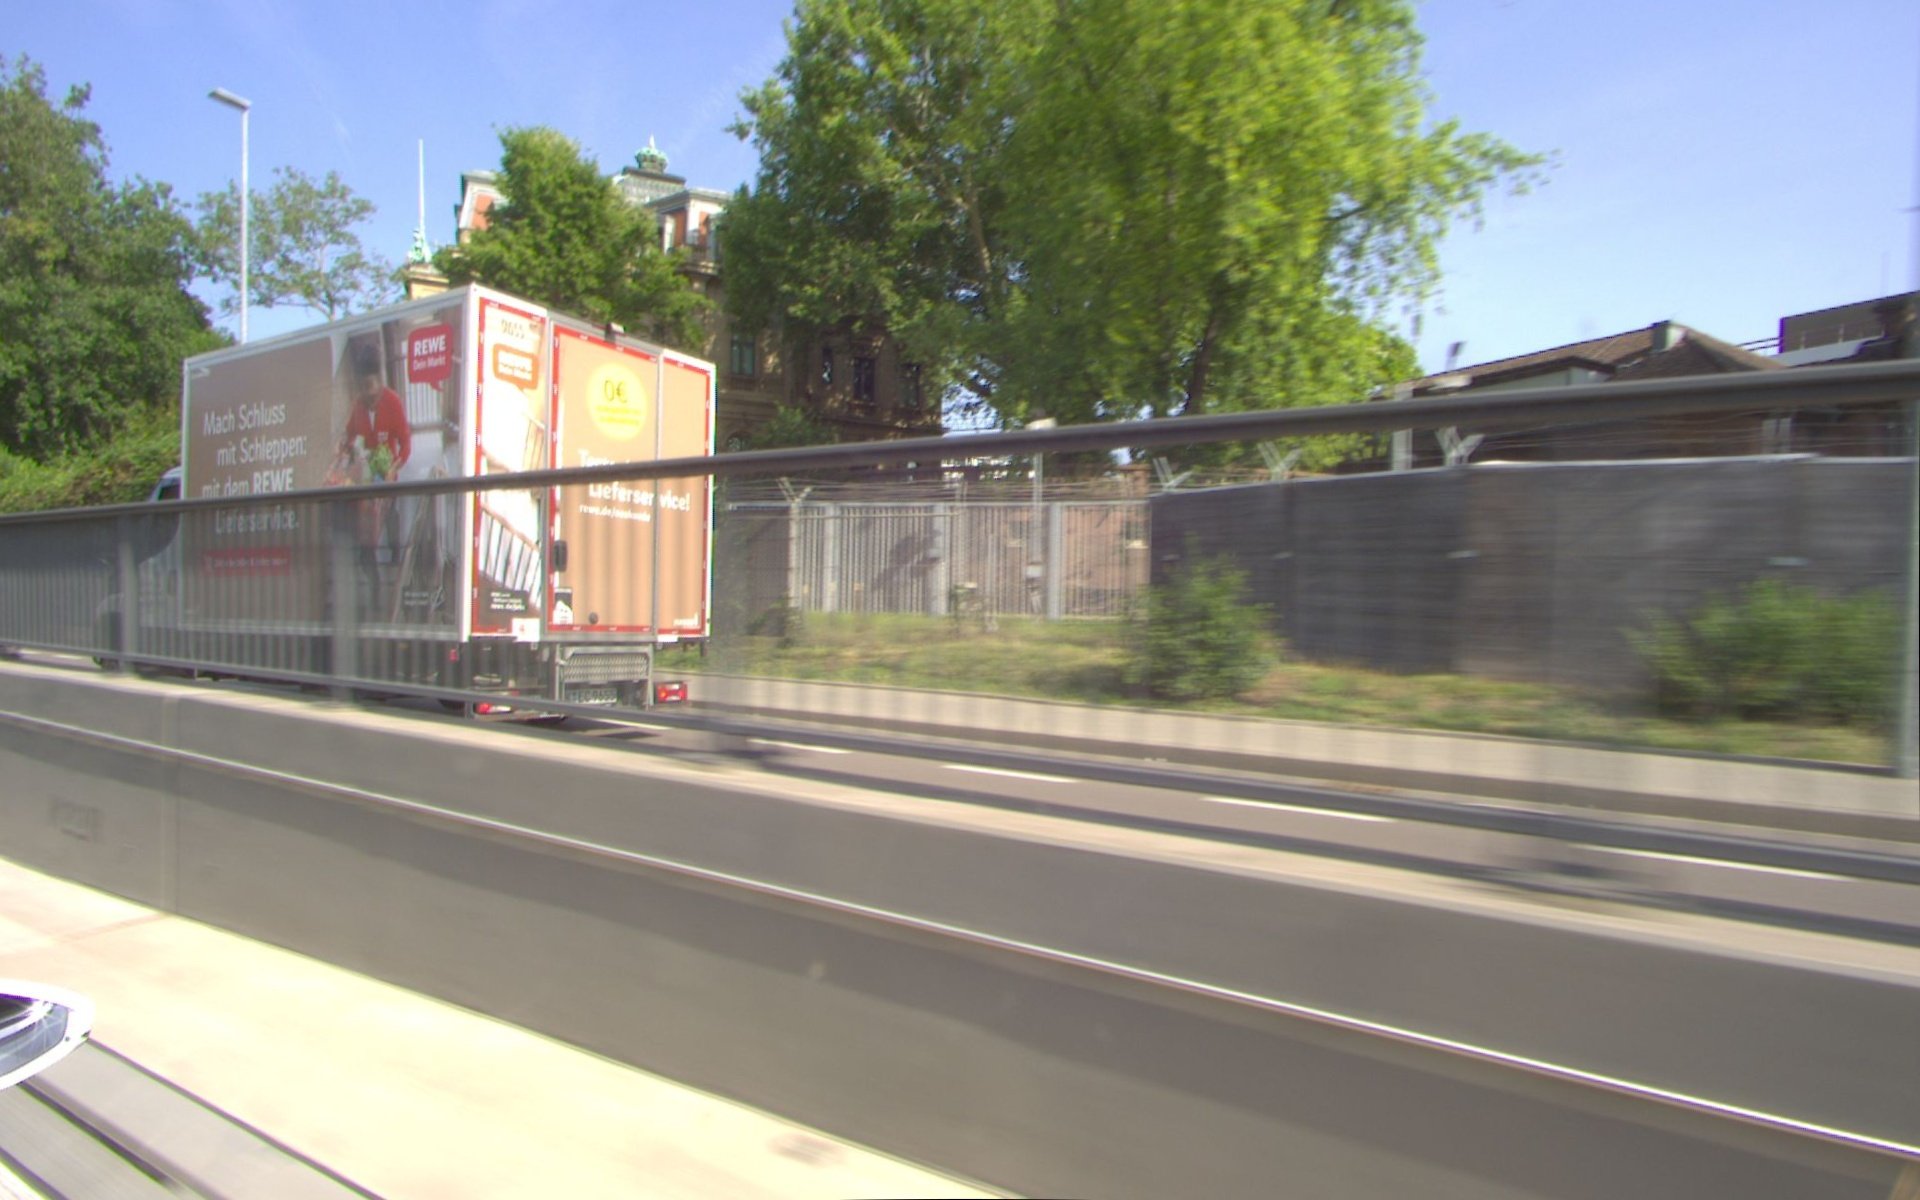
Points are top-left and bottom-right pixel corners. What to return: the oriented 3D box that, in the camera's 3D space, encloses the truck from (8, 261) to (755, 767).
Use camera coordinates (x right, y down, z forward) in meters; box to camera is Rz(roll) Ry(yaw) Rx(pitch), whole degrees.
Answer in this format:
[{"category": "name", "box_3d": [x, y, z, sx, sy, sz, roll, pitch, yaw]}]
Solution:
[{"category": "truck", "box_3d": [-5.666, -0.498, 9.212, 7.705, 3.099, 2.499, 1, -2, 32]}]
